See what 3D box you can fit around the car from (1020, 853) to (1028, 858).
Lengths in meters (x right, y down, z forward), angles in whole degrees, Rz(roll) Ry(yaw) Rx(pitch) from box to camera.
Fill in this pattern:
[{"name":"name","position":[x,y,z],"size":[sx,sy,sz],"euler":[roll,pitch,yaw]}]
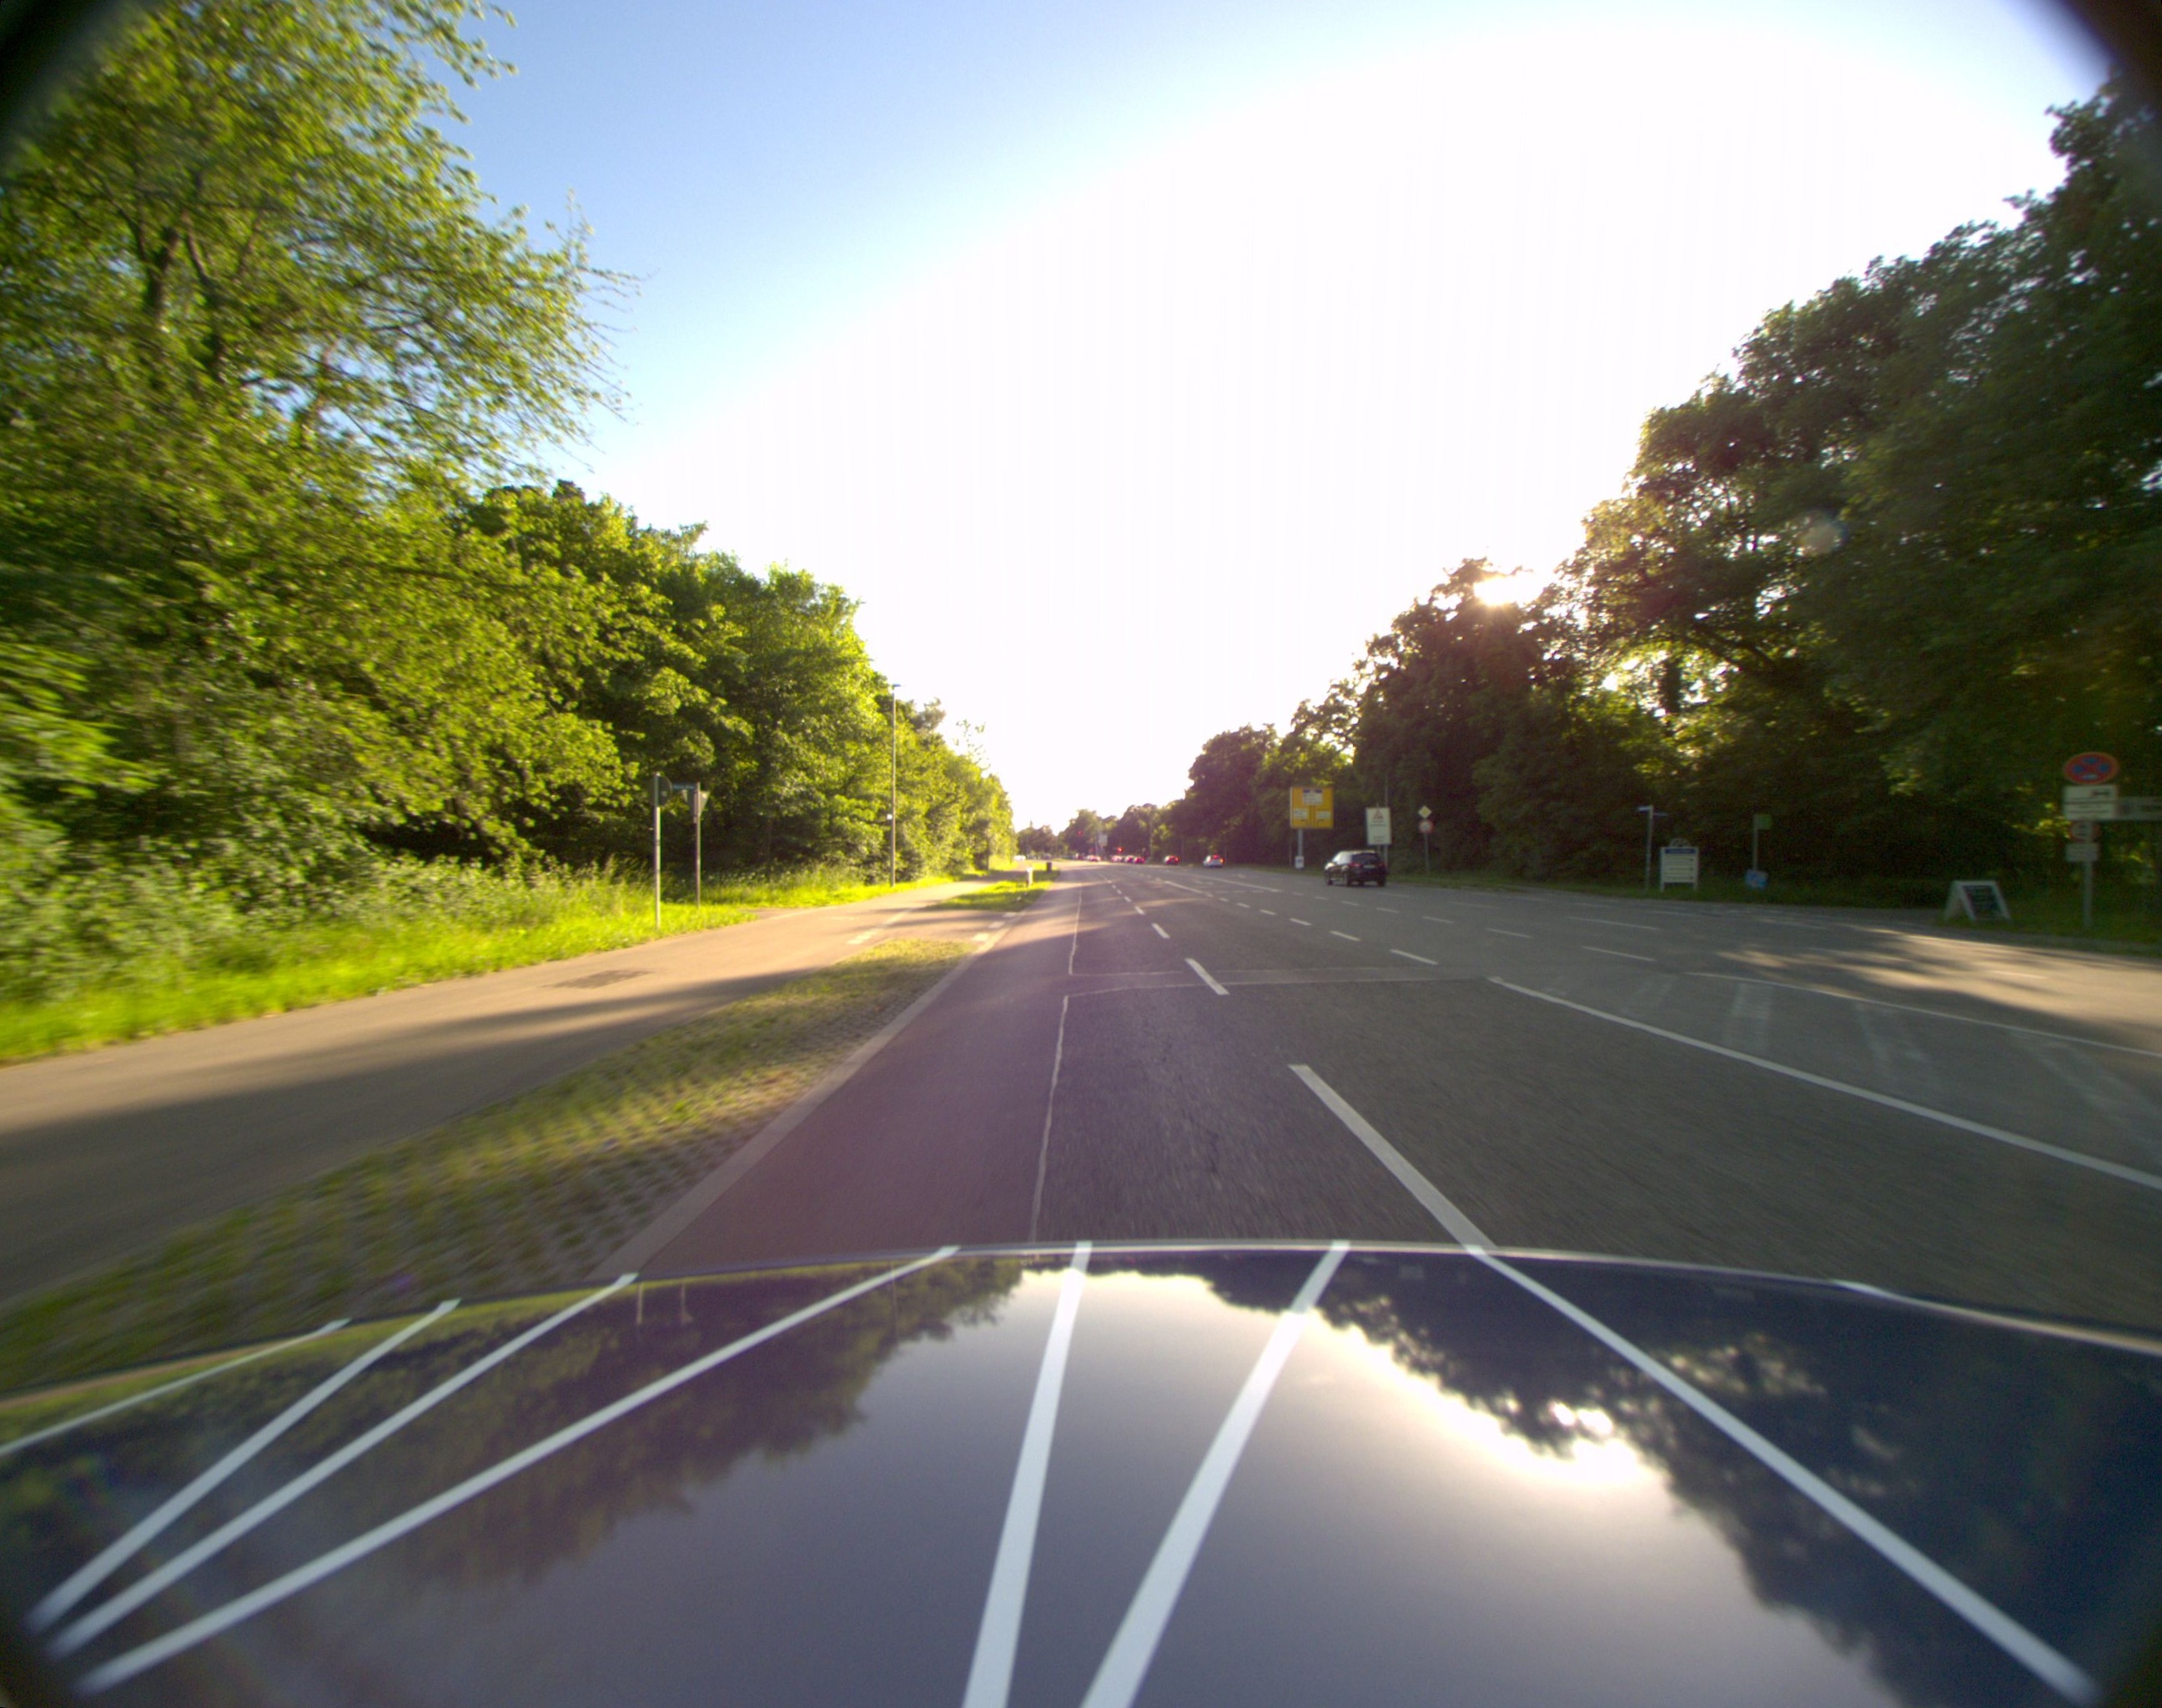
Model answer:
[{"name":"car","position":[-18.208,0.455,242.819],"size":[2.000,1.510,3.995],"euler":[0,1,-11]}]

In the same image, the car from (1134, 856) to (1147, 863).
[{"name":"car","position":[12.066,1.108,154.717],"size":[1.999,1.555,4.336],"euler":[1,0,-4]}]

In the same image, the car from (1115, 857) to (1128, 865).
[{"name":"car","position":[9.089,1.569,170.758],"size":[2.000,1.555,4.645],"euler":[3,0,-6]}]

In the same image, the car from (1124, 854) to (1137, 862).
[{"name":"car","position":[10.734,0.790,163.662],"size":[2.000,1.627,4.841],"euler":[1,0,-6]}]

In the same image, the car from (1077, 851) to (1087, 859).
[{"name":"car","position":[0.237,0.273,197.247],"size":[2.000,1.950,4.644],"euler":[2,0,-9]}]

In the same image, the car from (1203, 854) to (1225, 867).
[{"name":"car","position":[15.780,0.735,90.270],"size":[1.829,1.495,4.306],"euler":[0,0,1]}]

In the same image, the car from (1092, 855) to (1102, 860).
[{"name":"car","position":[3.668,0.770,173.038],"size":[1.749,1.227,4.671],"euler":[1,0,-4]}]

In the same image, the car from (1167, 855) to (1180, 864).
[{"name":"car","position":[14.929,0.860,122.512],"size":[1.829,1.535,4.257],"euler":[0,0,3]}]

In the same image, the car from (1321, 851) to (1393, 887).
[{"name":"car","position":[12.833,0.670,35.624],"size":[1.829,1.580,4.351],"euler":[0,0,1]}]
